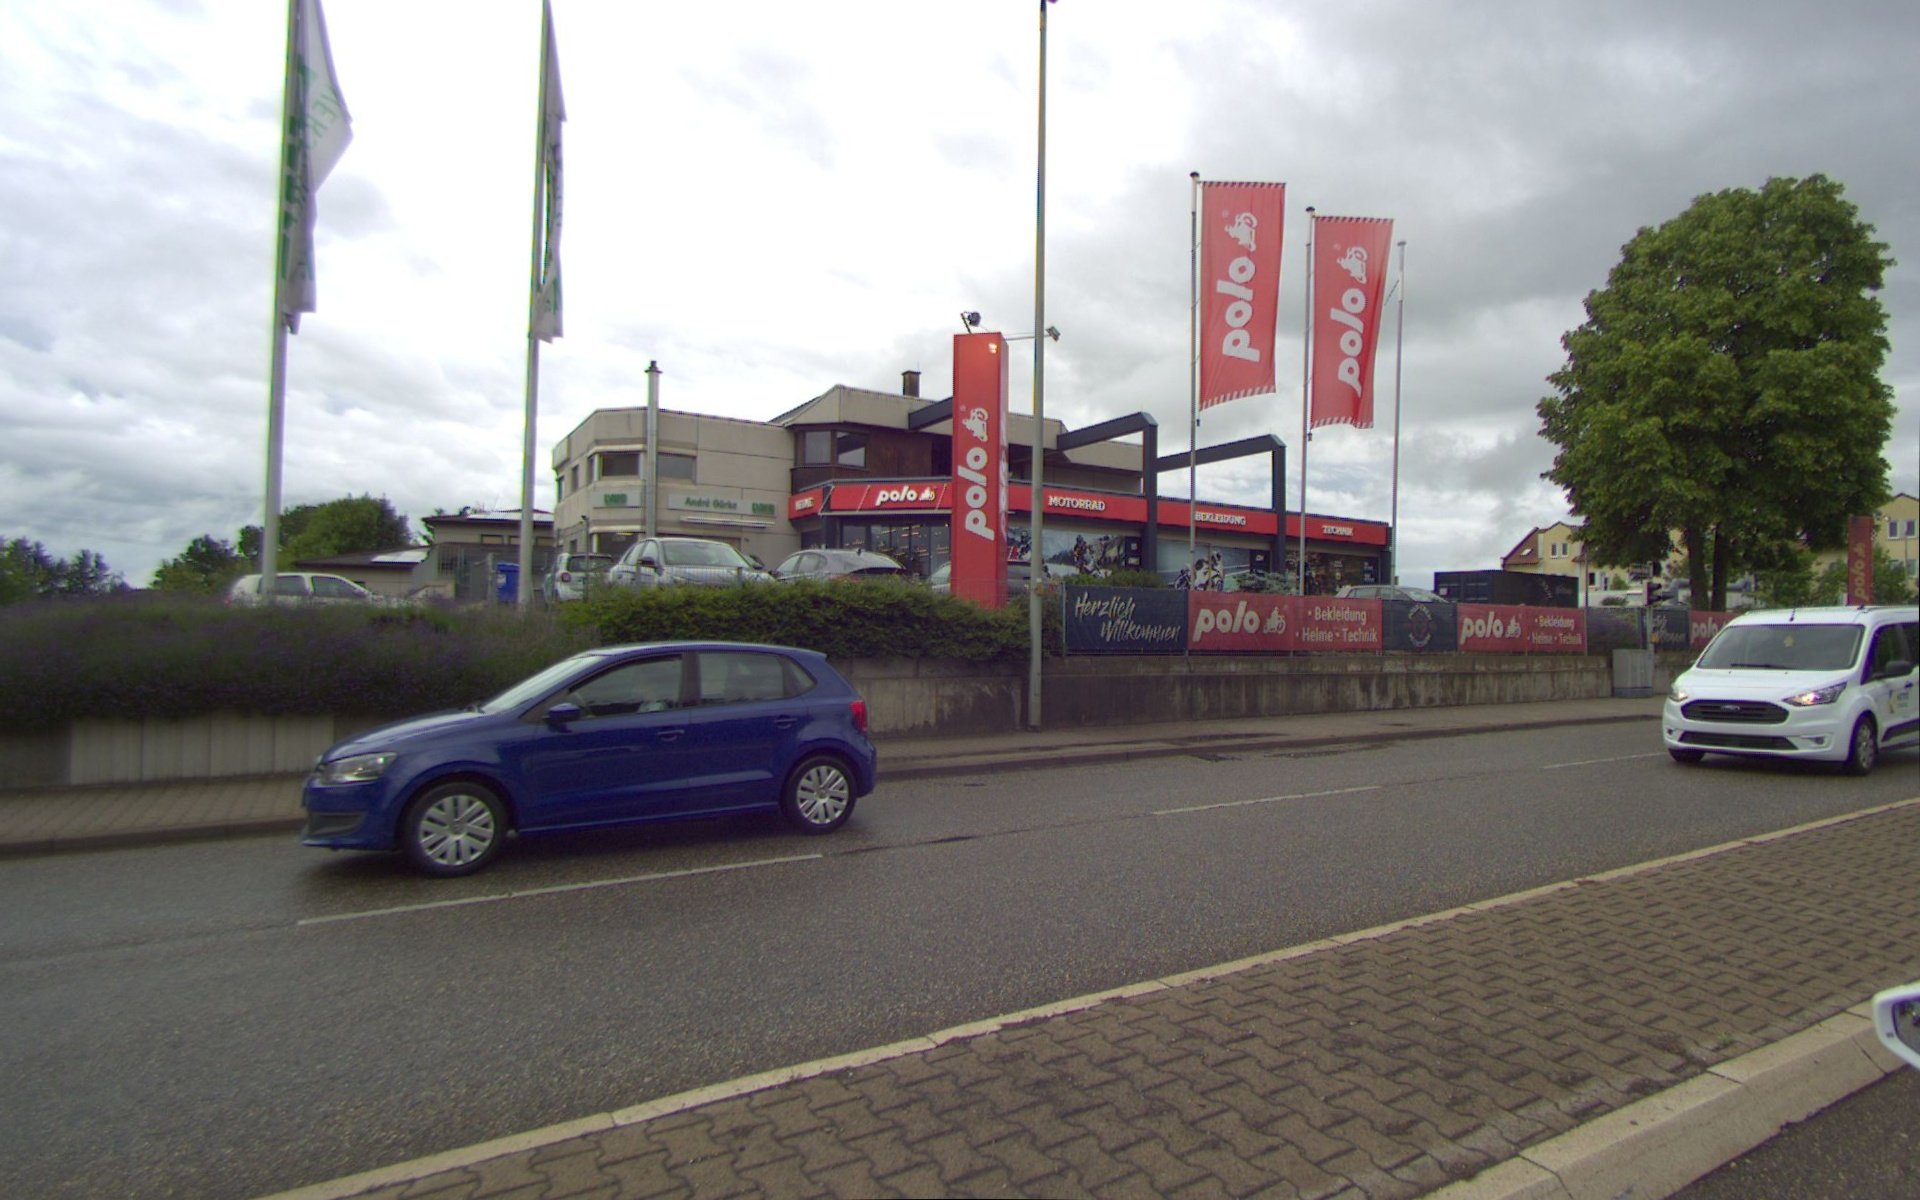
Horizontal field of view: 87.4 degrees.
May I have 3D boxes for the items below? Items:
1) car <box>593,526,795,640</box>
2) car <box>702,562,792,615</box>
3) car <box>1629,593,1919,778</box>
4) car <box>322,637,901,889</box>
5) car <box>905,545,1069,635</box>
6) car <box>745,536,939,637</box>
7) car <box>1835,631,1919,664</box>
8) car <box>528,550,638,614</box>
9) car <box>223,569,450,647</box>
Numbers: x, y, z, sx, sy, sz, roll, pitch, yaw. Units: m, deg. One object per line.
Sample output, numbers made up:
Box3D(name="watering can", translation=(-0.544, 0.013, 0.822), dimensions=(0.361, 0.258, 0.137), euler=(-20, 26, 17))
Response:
Box3D(name="car", translation=(-4.138, -0.178, 15.263), dimensions=(1.725, 1.502, 3.800), euler=(1, -1, -36))
Box3D(name="car", translation=(-6.779, -0.302, 31.646), dimensions=(1.850, 1.532, 3.976), euler=(1, -1, -26))
Box3D(name="car", translation=(10.197, 0.959, 12.078), dimensions=(4.528, 1.847, 1.848), euler=(2, -3, -32))
Box3D(name="car", translation=(-2.457, 0.999, 7.405), dimensions=(3.722, 1.400, 1.626), euler=(1, -3, -31))
Box3D(name="car", translation=(0.425, -0.124, 18.929), dimensions=(1.564, 1.529, 3.399), euler=(1, -2, -30))
Box3D(name="car", translation=(-2.078, -0.161, 16.939), dimensions=(1.725, 1.502, 3.622), euler=(1, -1, -36))
Box3D(name="car", translation=(42.380, 2.131, 45.305), dimensions=(4.136, 1.475, 1.796), euler=(-1, -2, 33))
Box3D(name="car", translation=(-9.839, -0.402, 26.078), dimensions=(1.855, 1.502, 3.803), euler=(1, -1, -34))
Box3D(name="car", translation=(-13.160, 0.217, 21.466), dimensions=(3.955, 1.532, 1.667), euler=(1, -3, -30))
